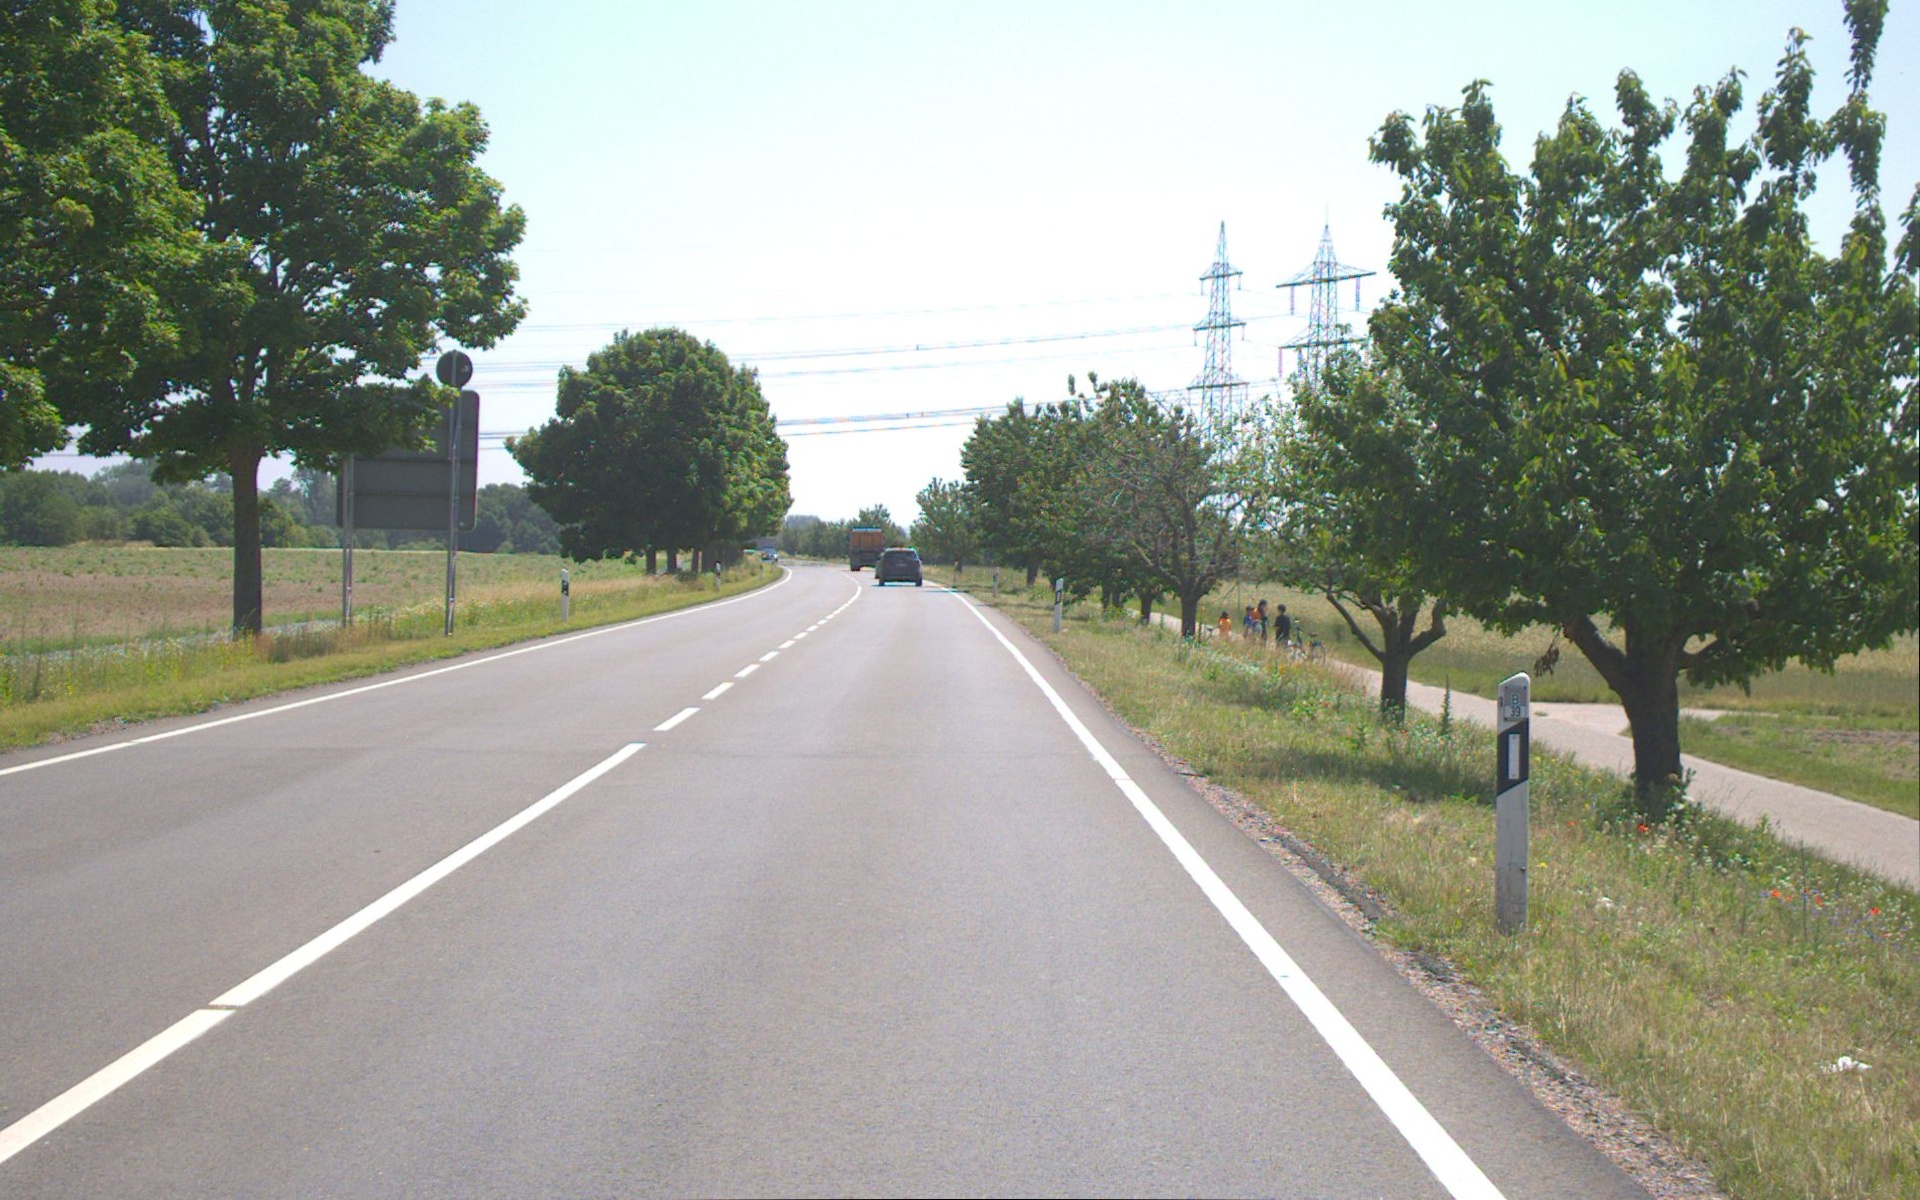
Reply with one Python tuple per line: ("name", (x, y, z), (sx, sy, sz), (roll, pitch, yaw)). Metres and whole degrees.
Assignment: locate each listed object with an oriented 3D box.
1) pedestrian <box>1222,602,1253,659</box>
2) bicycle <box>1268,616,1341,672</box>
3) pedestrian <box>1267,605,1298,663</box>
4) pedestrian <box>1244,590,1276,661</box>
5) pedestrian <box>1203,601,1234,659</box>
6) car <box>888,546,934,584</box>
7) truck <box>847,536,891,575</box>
("pedestrian", (6.891, 0.762, 85.290), (0.555, 1.366, 0.604), (4, 1, -8))
("bicycle", (8.156, 1.039, 81.485), (1.218, 1.161, 2.436), (4, 1, -5))
("pedestrian", (7.961, 0.840, 84.928), (0.555, 1.366, 0.604), (4, 1, -8))
("pedestrian", (7.472, 0.622, 85.670), (0.555, 1.715, 0.604), (4, 1, -8))
("pedestrian", (6.375, 0.735, 84.876), (0.555, 1.366, 0.604), (4, 1, -8))
("car", (-2.162, -1.536, 151.021), (1.884, 1.513, 4.040), (4, 1, -1))
("truck", (-6.871, -3.429, 260.904), (3.172, 2.851, 9.514), (1, 1, -1))
